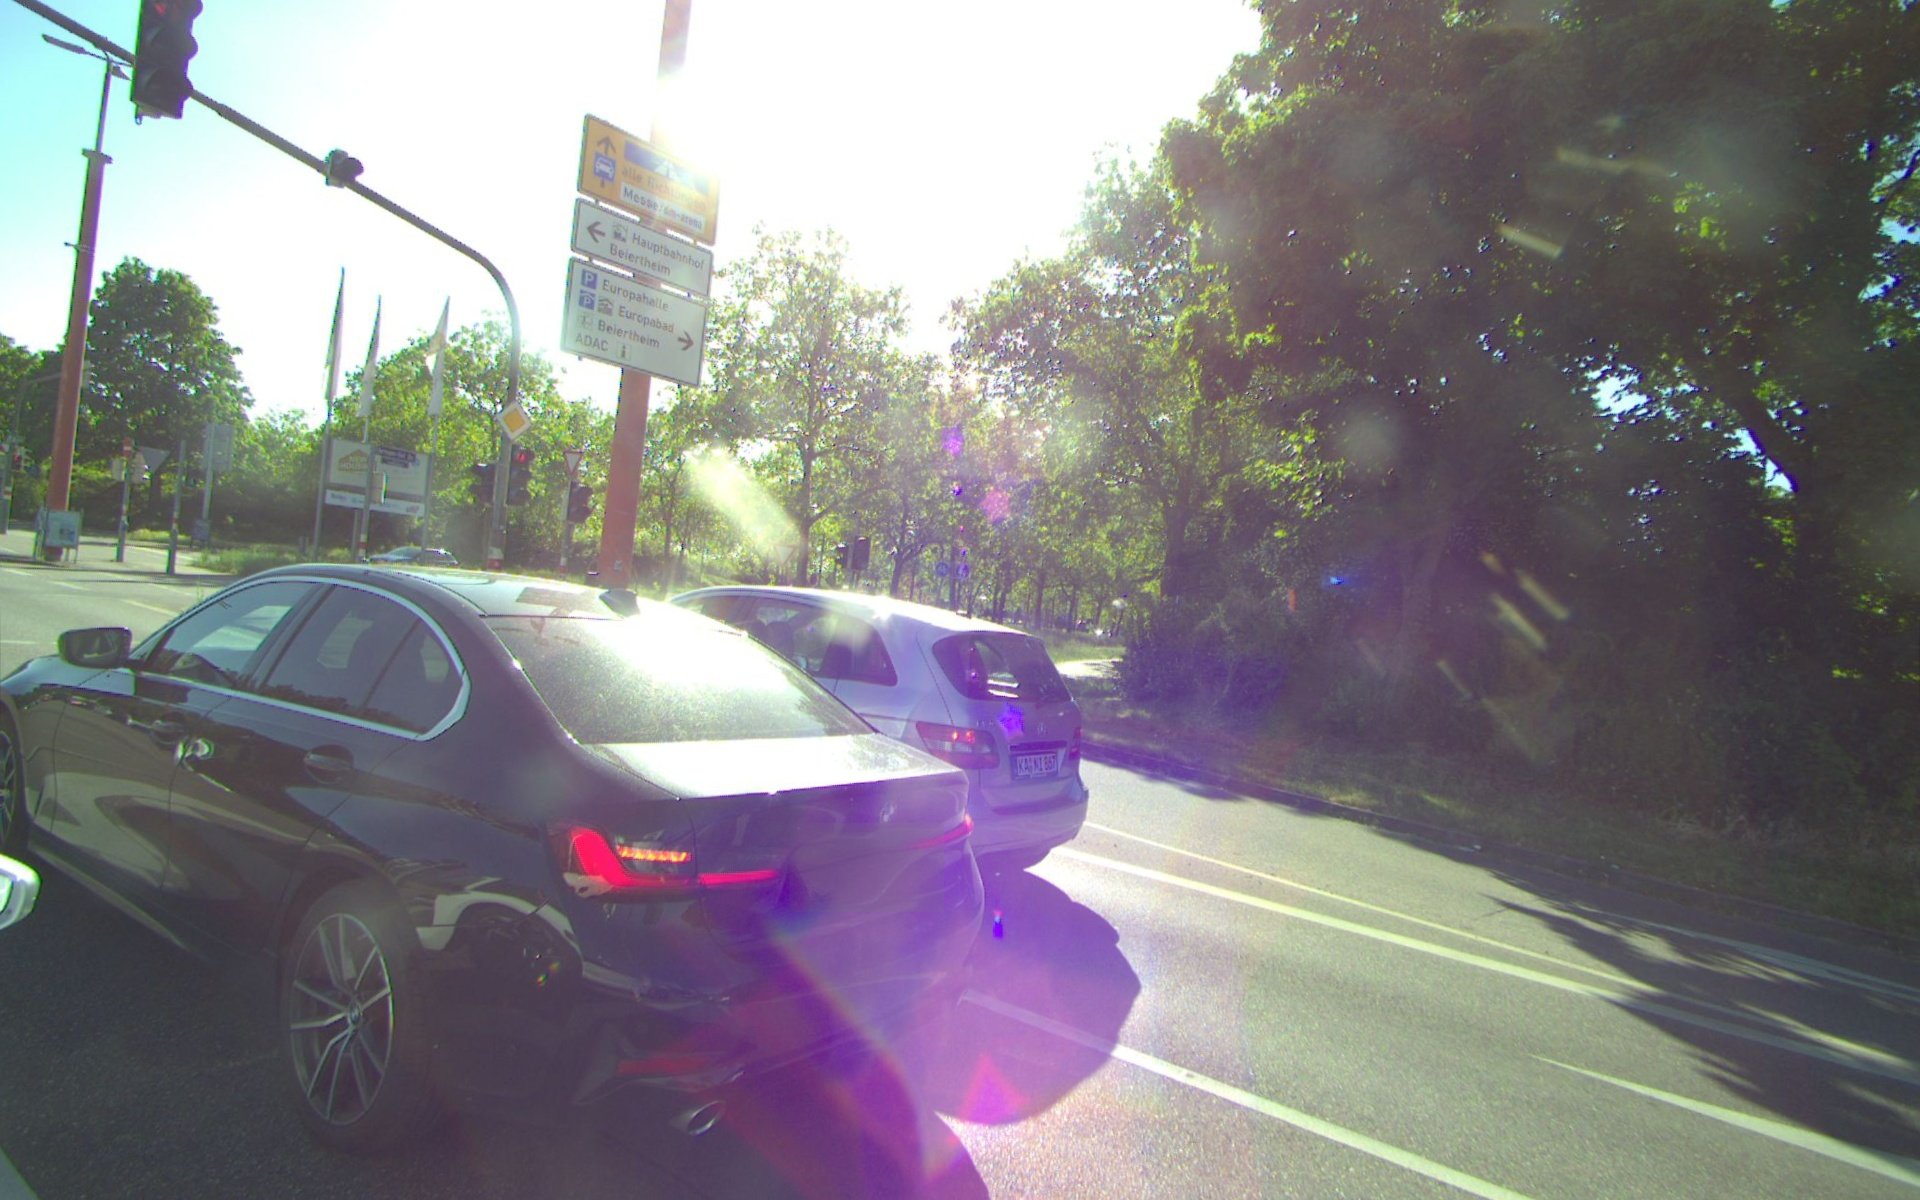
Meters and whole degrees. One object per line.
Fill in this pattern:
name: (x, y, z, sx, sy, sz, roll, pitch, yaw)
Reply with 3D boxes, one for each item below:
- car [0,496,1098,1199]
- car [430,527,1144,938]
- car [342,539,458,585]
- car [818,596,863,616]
car: (-1.960, 0.529, 3.885, 4.403, 1.411, 1.996, 7, 0, 32)
car: (-1.282, 0.640, 6.793, 4.403, 1.706, 1.970, 7, -1, 32)
car: (-24.134, -1.610, 43.563, 1.848, 1.445, 4.283, 7, -1, 14)
car: (-12.947, 0.660, 109.002, 4.209, 1.592, 2.162, 7, 0, 31)
